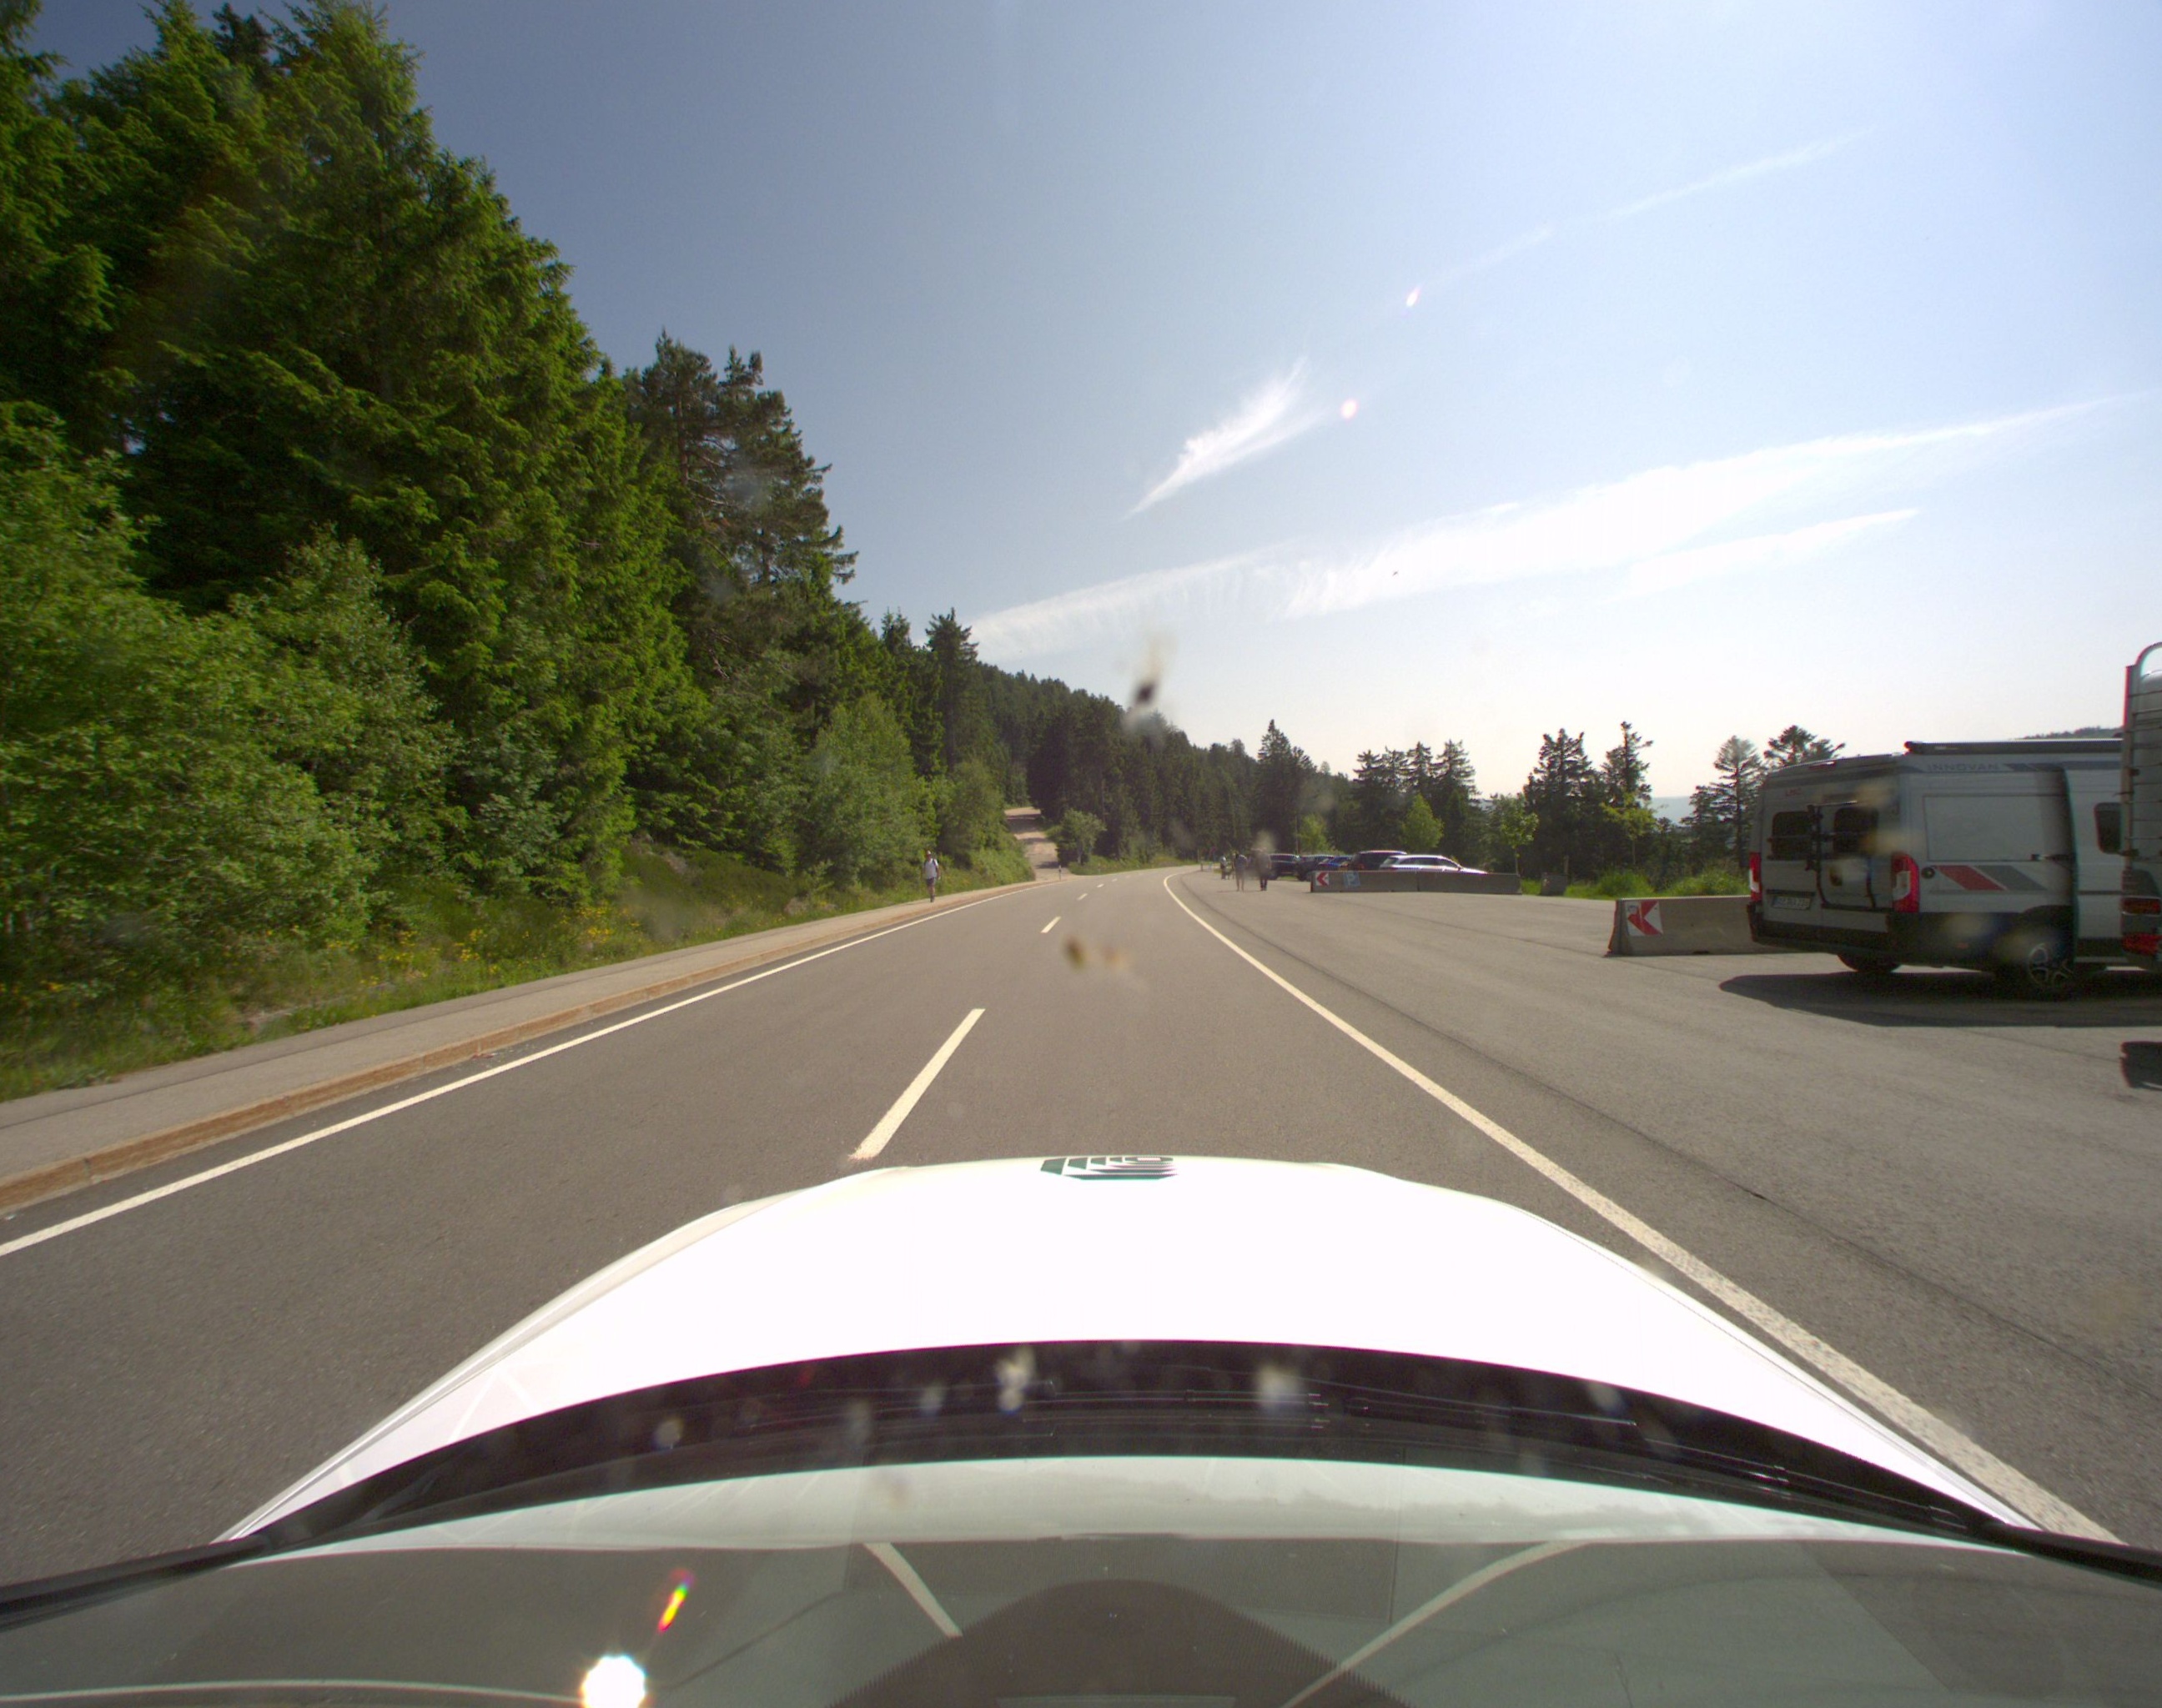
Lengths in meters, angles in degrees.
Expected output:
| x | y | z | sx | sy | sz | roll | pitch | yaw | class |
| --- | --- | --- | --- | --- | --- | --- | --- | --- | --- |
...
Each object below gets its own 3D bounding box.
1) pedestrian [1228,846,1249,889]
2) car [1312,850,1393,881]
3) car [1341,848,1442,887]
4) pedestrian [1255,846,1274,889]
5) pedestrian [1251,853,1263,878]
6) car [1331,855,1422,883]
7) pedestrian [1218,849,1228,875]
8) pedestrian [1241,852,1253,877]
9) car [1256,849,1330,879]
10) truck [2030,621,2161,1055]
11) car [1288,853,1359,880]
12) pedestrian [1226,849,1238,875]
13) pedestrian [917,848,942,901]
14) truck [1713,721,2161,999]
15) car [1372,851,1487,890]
| x | y | z | sx | sy | sz | roll | pitch | yaw | class |
| --- | --- | --- | --- | --- | --- | --- | --- | --- | --- |
| 6.542 | 0.565 | 33.754 | 0.748 | 1.760 | 0.779 | -2 | 0 | 16 | pedestrian |
| 15.139 | 0.643 | 45.548 | 3.975 | 1.535 | 1.807 | -1 | 3 | -1 | car |
| 13.939 | 0.616 | 36.664 | 3.975 | 1.647 | 1.600 | 1 | -1 | -1 | car |
| 7.538 | 0.535 | 33.469 | 0.660 | 1.741 | 0.898 | -2 | 0 | 16 | pedestrian |
| 11.800 | 0.755 | 54.462 | 0.611 | 1.587 | 0.739 | -2 | 1 | 22 | pedestrian |
| 15.094 | 0.761 | 41.743 | 3.972 | 1.353 | 1.988 | -1 | 0 | 1 | car |
| 9.485 | 0.533 | 54.429 | 0.613 | 1.775 | 0.726 | -1 | -1 | 10 | pedestrian |
| 11.294 | 0.726 | 55.335 | 0.647 | 1.660 | 0.690 | -2 | 1 | 16 | pedestrian |
| 13.474 | 0.655 | 51.896 | 4.250 | 1.794 | 1.892 | -1 | -1 | 0 | car |
| 10.984 | -0.199 | 5.550 | 6.044 | 3.196 | 2.532 | -2 | 0 | 0 | truck |
| 14.508 | 0.730 | 48.872 | 3.743 | 1.567 | 1.598 | -1 | 0 | -3 | car |
| 9.784 | 0.526 | 52.800 | 0.711 | 1.692 | 0.620 | -1 | -1 | 10 | pedestrian |
| -5.084 | 0.668 | 27.348 | 0.680 | 1.746 | 0.825 | -1 | 0 | -1 | pedestrian |
| 10.977 | 0.001 | 8.888 | 6.235 | 2.590 | 2.342 | -2 | 0 | 2 | truck |
| 14.337 | 0.661 | 33.650 | 3.974 | 1.476 | 1.773 | 1 | 0 | 0 | car |
